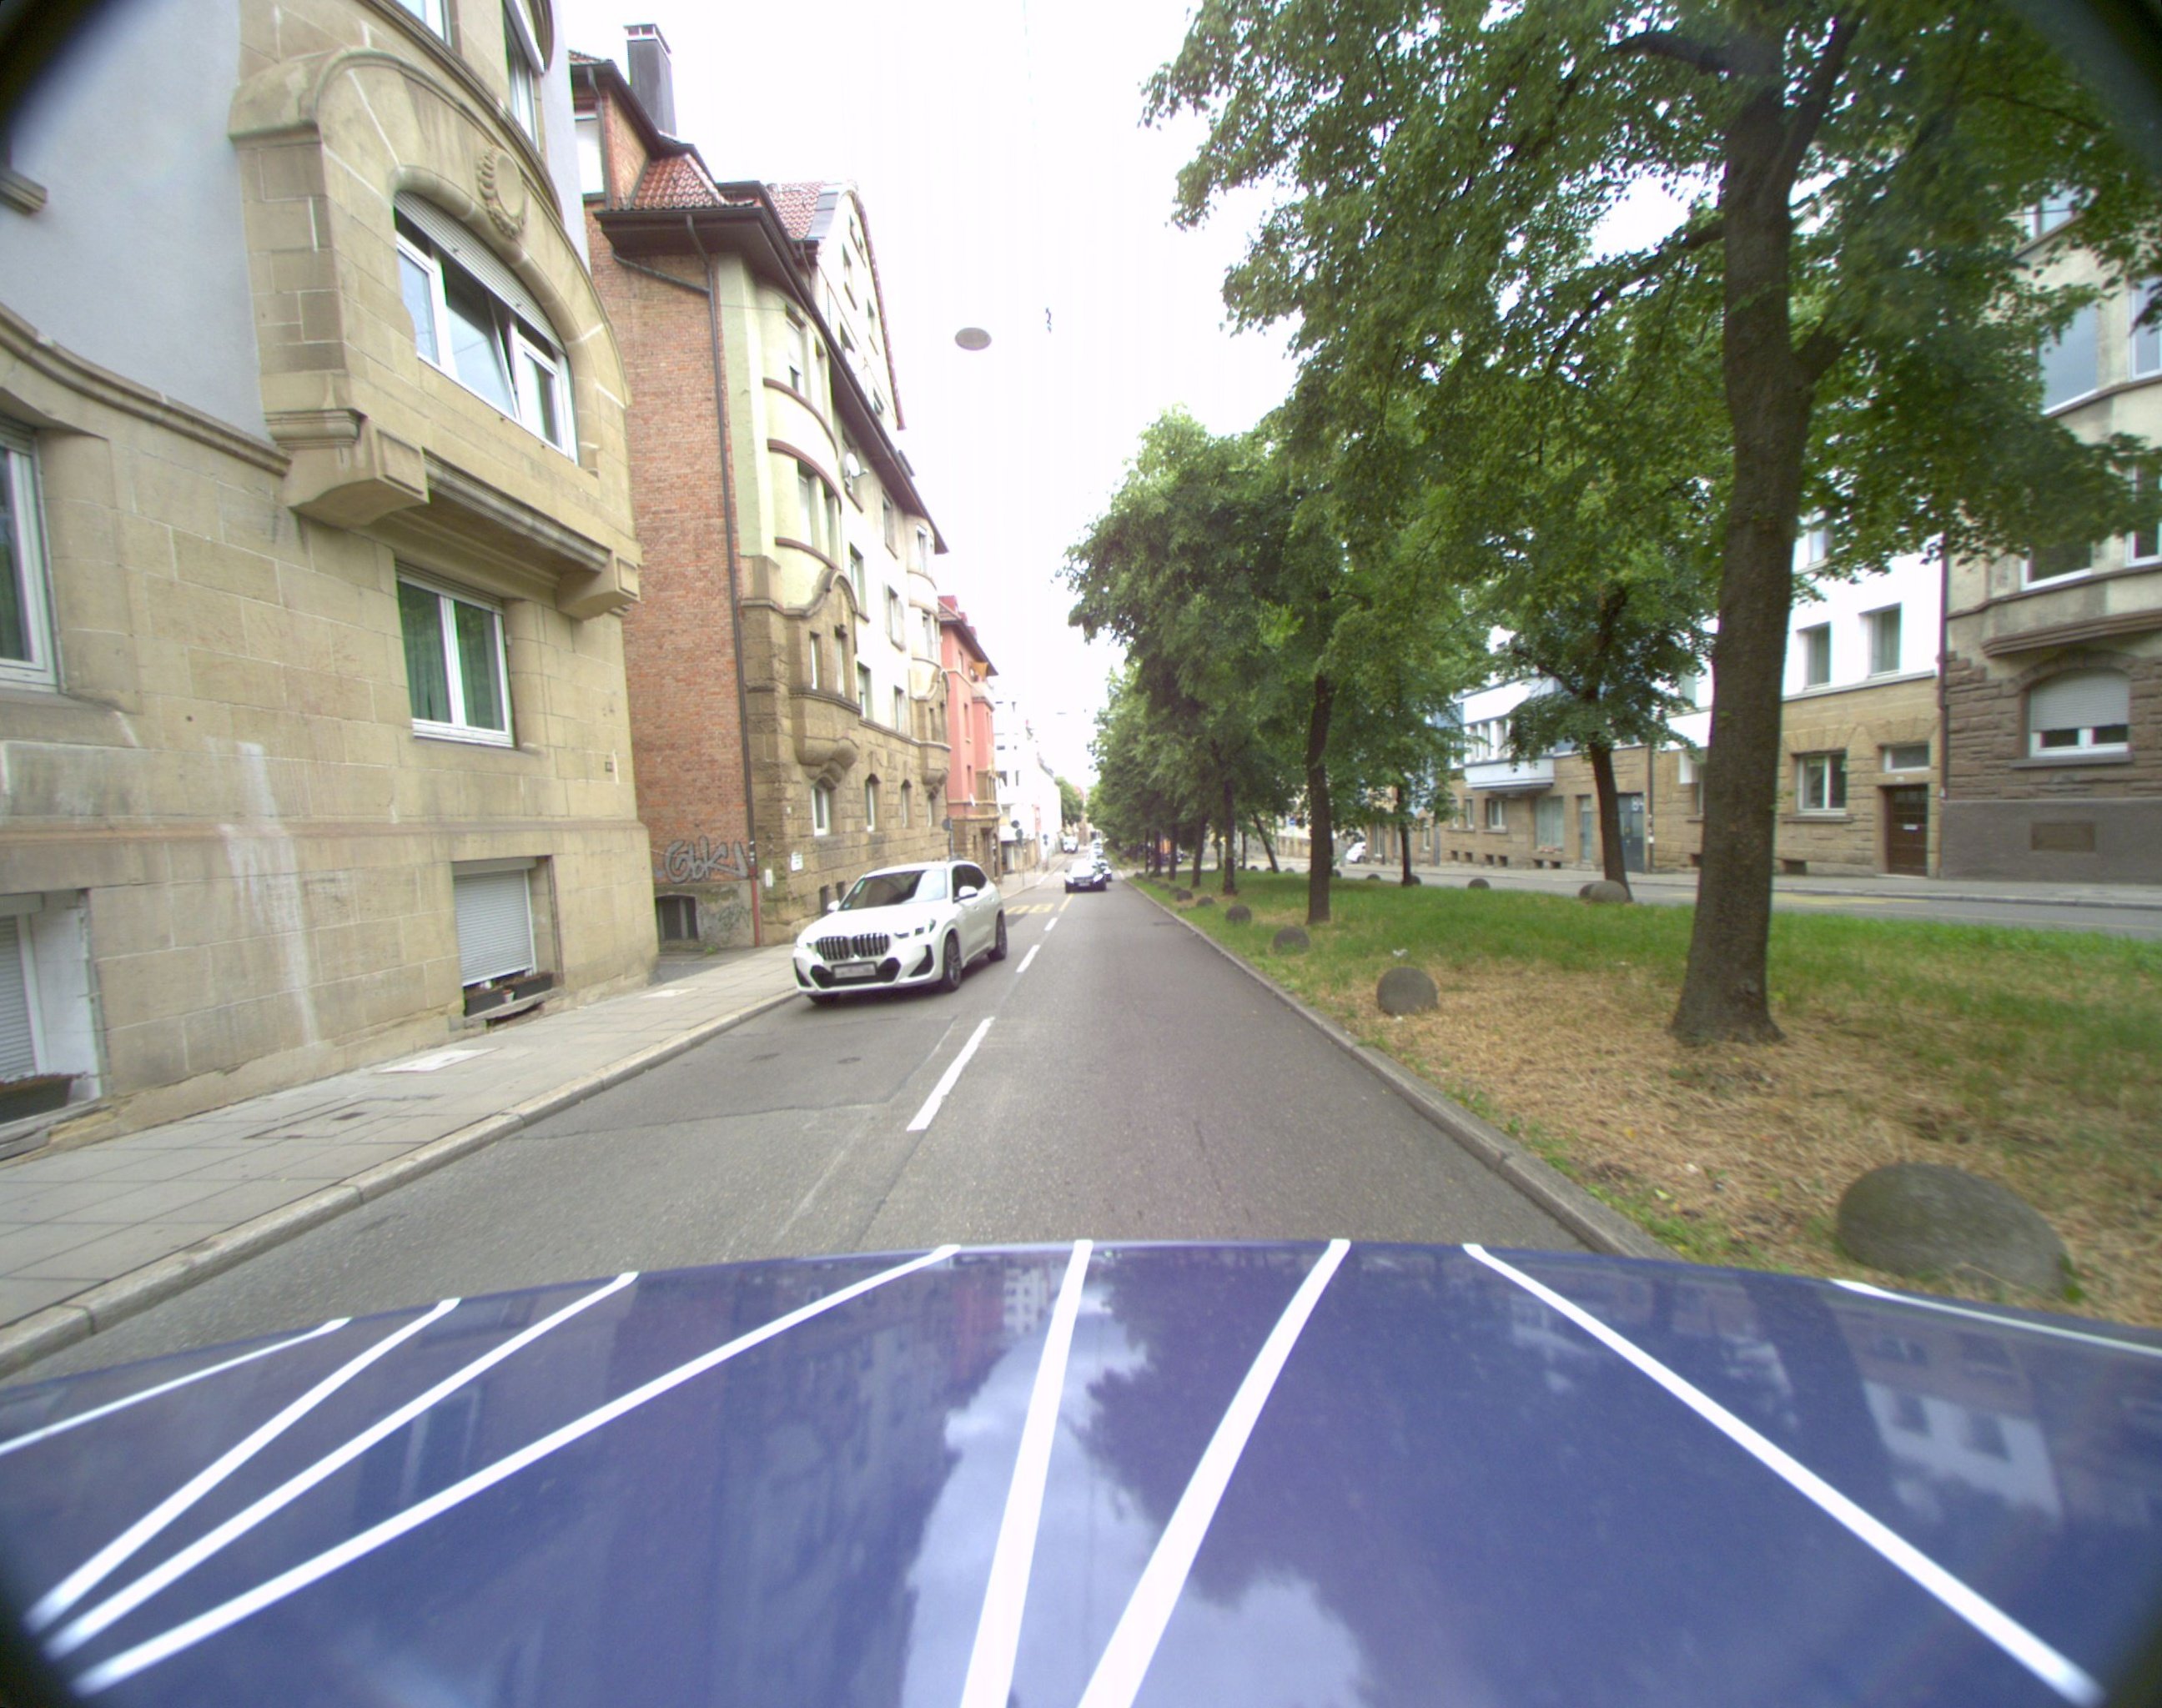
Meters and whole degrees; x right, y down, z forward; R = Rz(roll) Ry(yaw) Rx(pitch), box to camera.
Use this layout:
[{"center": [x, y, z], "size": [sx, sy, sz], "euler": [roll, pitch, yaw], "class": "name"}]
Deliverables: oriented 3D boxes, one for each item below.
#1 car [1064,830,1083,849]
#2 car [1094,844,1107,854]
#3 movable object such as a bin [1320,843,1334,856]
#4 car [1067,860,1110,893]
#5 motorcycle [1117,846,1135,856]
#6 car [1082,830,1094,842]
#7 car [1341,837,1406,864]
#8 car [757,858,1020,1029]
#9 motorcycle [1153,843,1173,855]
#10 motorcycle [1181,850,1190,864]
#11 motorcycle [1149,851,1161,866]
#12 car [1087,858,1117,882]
[{"center": [-1.258, -2.519, 131.797], "size": [3.026, 3.045, 7.165], "euler": [-2, 2, 0], "class": "car"}, {"center": [2.898, -0.704, 110.745], "size": [1.783, 1.420, 4.281], "euler": [-1, 0, 2], "class": "car"}, {"center": [20.747, -0.376, 64.022], "size": [0.888, 0.988, 0.668], "euler": [-5, 2, 0], "class": "movable object such as a bin"}, {"center": [0.410, 1.021, 36.526], "size": [1.854, 1.360, 4.281], "euler": [-3, 0, 2], "class": "car"}, {"center": [5.423, -0.368, 92.013], "size": [2.040, 1.126, 0.454], "euler": [-4, 4, 2], "class": "motorcycle"}, {"center": [1.741, -4.785, 199.261], "size": [3.026, 3.045, 7.165], "euler": [-2, 2, 0], "class": "car"}, {"center": [21.839, -0.305, 56.734], "size": [4.007, 1.462, 1.870], "euler": [-7, 3, -1], "class": "car"}, {"center": [-2.314, 1.009, 10.629], "size": [1.853, 1.595, 4.564], "euler": [-6, 0, 7], "class": "car"}, {"center": [10.314, -0.620, 95.212], "size": [2.424, 1.475, 0.963], "euler": [-2, 4, 2], "class": "motorcycle"}, {"center": [9.071, 0.252, 65.882], "size": [0.750, 1.068, 1.851], "euler": [-3, 3, 8], "class": "motorcycle"}, {"center": [6.436, 0.379, 65.814], "size": [0.888, 1.090, 2.481], "euler": [-3, 3, 8], "class": "motorcycle"}, {"center": [1.379, 1.011, 49.779], "size": [1.854, 1.360, 4.281], "euler": [-3, 0, 2], "class": "car"}]
